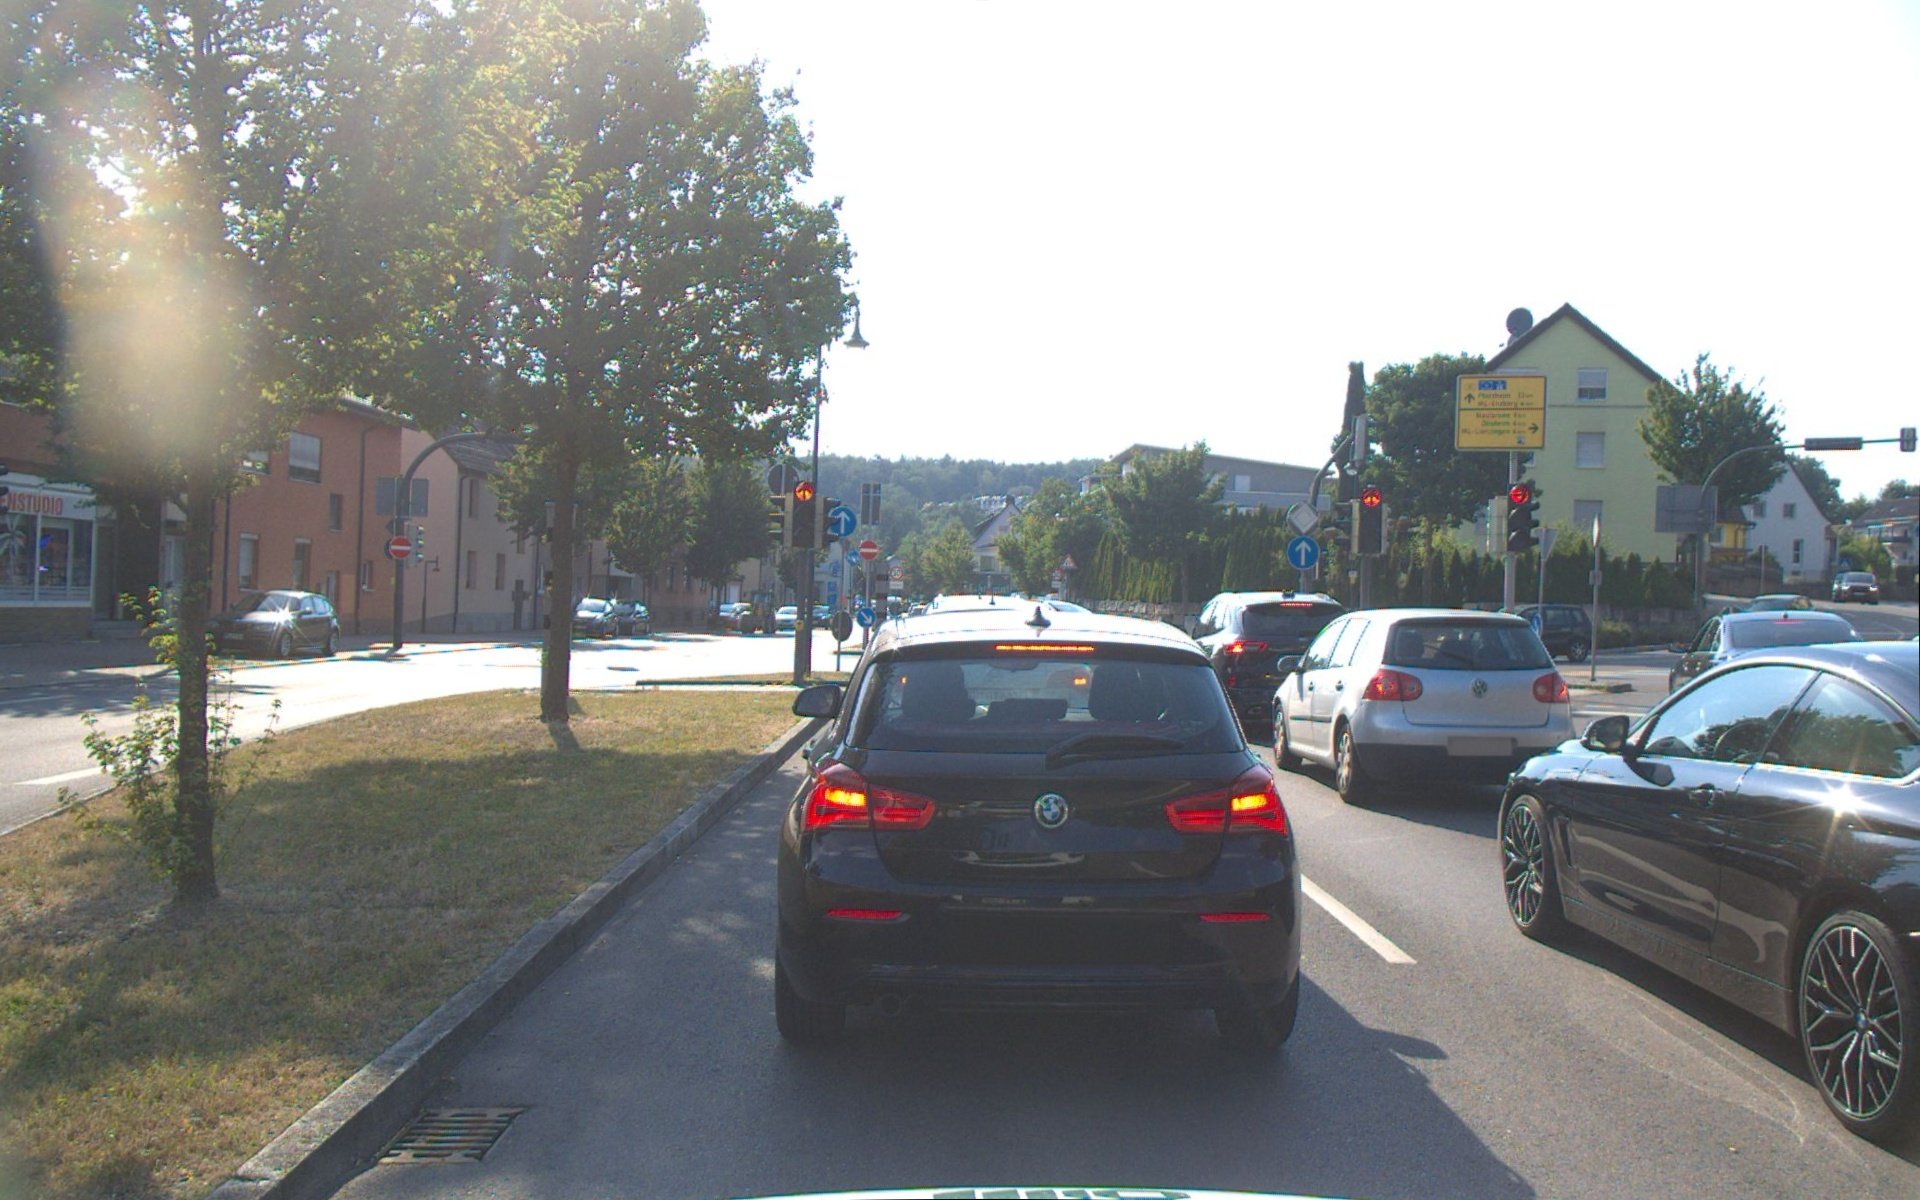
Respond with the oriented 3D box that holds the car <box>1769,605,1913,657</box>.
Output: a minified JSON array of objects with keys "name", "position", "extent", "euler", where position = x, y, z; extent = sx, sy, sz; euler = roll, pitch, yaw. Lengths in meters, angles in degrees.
[{"name":"car","position":[26.957,0.946,50.609],"extent":[3.933,1.515,1.835],"euler":[1,0,-23]}]

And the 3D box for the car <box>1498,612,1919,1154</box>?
[{"name":"car","position":[3.465,0.783,5.830],"extent":[1.725,1.422,4.280],"euler":[-1,0,0]}]

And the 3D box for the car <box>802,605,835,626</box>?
[{"name":"car","position":[-9.948,1.086,116.392],"extent":[1.701,1.323,3.800],"euler":[5,0,2]}]

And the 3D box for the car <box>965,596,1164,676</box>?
[{"name":"car","position":[2.353,0.769,37.519],"extent":[4.131,1.709,1.963],"euler":[0,0,36]}]

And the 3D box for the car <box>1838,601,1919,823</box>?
[{"name":"car","position":[7.590,0.799,11.414],"extent":[1.583,1.569,3.320],"euler":[-1,0,6]}]

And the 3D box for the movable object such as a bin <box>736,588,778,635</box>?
[{"name":"movable object such as a bin","position":[-11.019,0.591,90.129],"extent":[1.701,2.485,4.449],"euler":[0,0,0]}]

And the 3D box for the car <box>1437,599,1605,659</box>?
[{"name":"car","position":[15.163,0.765,44.846],"extent":[3.907,1.515,1.847],"euler":[1,0,-3]}]

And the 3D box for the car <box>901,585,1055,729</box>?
[{"name":"car","position":[0.202,0.647,21.035],"extent":[1.751,1.622,4.280],"euler":[-1,0,0]}]

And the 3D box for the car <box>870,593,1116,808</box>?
[{"name":"car","position":[0.231,0.714,13.995],"extent":[1.751,1.520,4.280],"euler":[-1,0,0]}]

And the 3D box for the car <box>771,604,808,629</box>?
[{"name":"car","position":[-10.518,1.014,102.285],"extent":[1.701,1.323,3.800],"euler":[5,0,2]}]

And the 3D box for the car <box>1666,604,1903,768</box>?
[{"name":"car","position":[9.040,0.852,18.471],"extent":[1.621,1.569,4.401],"euler":[-1,0,17]}]

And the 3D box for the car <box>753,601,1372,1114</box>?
[{"name":"car","position":[0.290,0.733,6.850],"extent":[1.751,1.422,4.280],"euler":[-1,0,0]}]

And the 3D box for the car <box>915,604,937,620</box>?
[{"name":"car","position":[-3.059,1.097,150.899],"extent":[1.701,1.323,3.800],"euler":[5,0,2]}]

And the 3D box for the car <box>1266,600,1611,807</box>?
[{"name":"car","position":[3.787,0.739,13.786],"extent":[1.725,1.451,3.902],"euler":[-1,0,0]}]

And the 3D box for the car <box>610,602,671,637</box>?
[{"name":"car","position":[-14.112,0.837,73.199],"extent":[1.701,1.323,4.001],"euler":[5,0,2]}]

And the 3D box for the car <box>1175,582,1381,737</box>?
[{"name":"car","position":[3.740,0.647,20.069],"extent":[1.725,1.685,3.902],"euler":[-1,0,0]}]

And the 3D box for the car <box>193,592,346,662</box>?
[{"name":"car","position":[-15.478,0.571,37.304],"extent":[1.702,1.323,3.999],"euler":[5,0,-1]}]

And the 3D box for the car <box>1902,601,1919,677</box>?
[{"name":"car","position":[23.760,0.874,37.880],"extent":[4.155,1.709,1.952],"euler":[0,0,-29]}]

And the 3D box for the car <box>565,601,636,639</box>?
[{"name":"car","position":[-14.504,0.804,66.918],"extent":[1.701,1.323,4.001],"euler":[5,0,3]}]

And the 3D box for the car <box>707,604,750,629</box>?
[{"name":"car","position":[-13.546,0.950,96.943],"extent":[1.701,1.323,3.800],"euler":[5,0,2]}]

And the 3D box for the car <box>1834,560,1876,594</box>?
[{"name":"car","position":[46.838,-1.174,86.602],"extent":[1.806,1.670,4.425],"euler":[1,0,27]}]
